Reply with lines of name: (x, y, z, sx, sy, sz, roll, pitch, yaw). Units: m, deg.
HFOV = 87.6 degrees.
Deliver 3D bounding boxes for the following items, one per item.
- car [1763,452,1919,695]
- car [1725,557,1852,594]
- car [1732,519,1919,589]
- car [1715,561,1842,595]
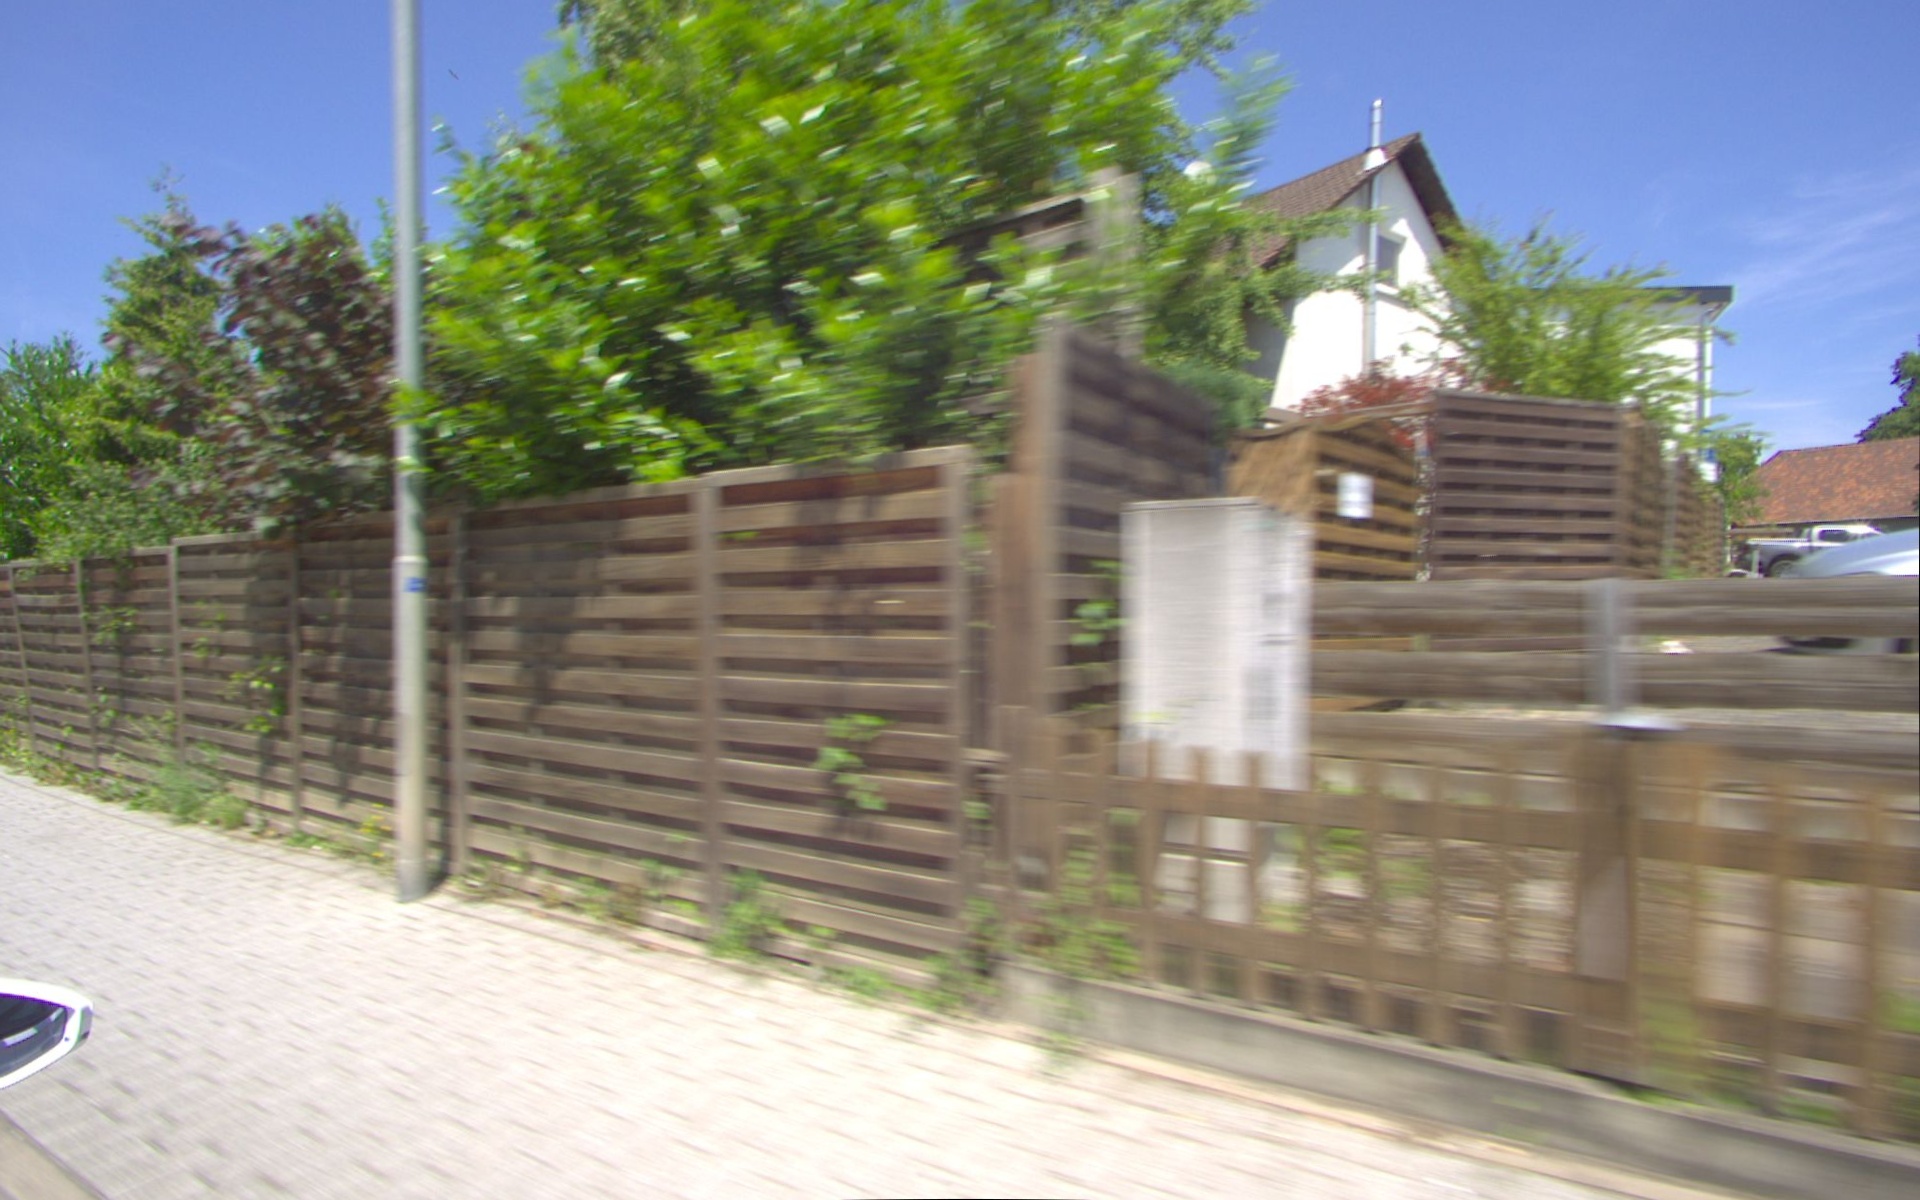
car: (7.647, -0.246, 5.849, 4.440, 1.485, 1.624, 0, 6, 34)
car: (35.504, -1.026, 43.046, 4.032, 1.432, 1.636, 0, -1, 34)
car: (27.315, -1.401, 30.892, 5.356, 1.976, 2.130, 0, 3, 34)
car: (33.588, -0.902, 41.220, 3.864, 1.275, 1.596, 0, 3, 34)
